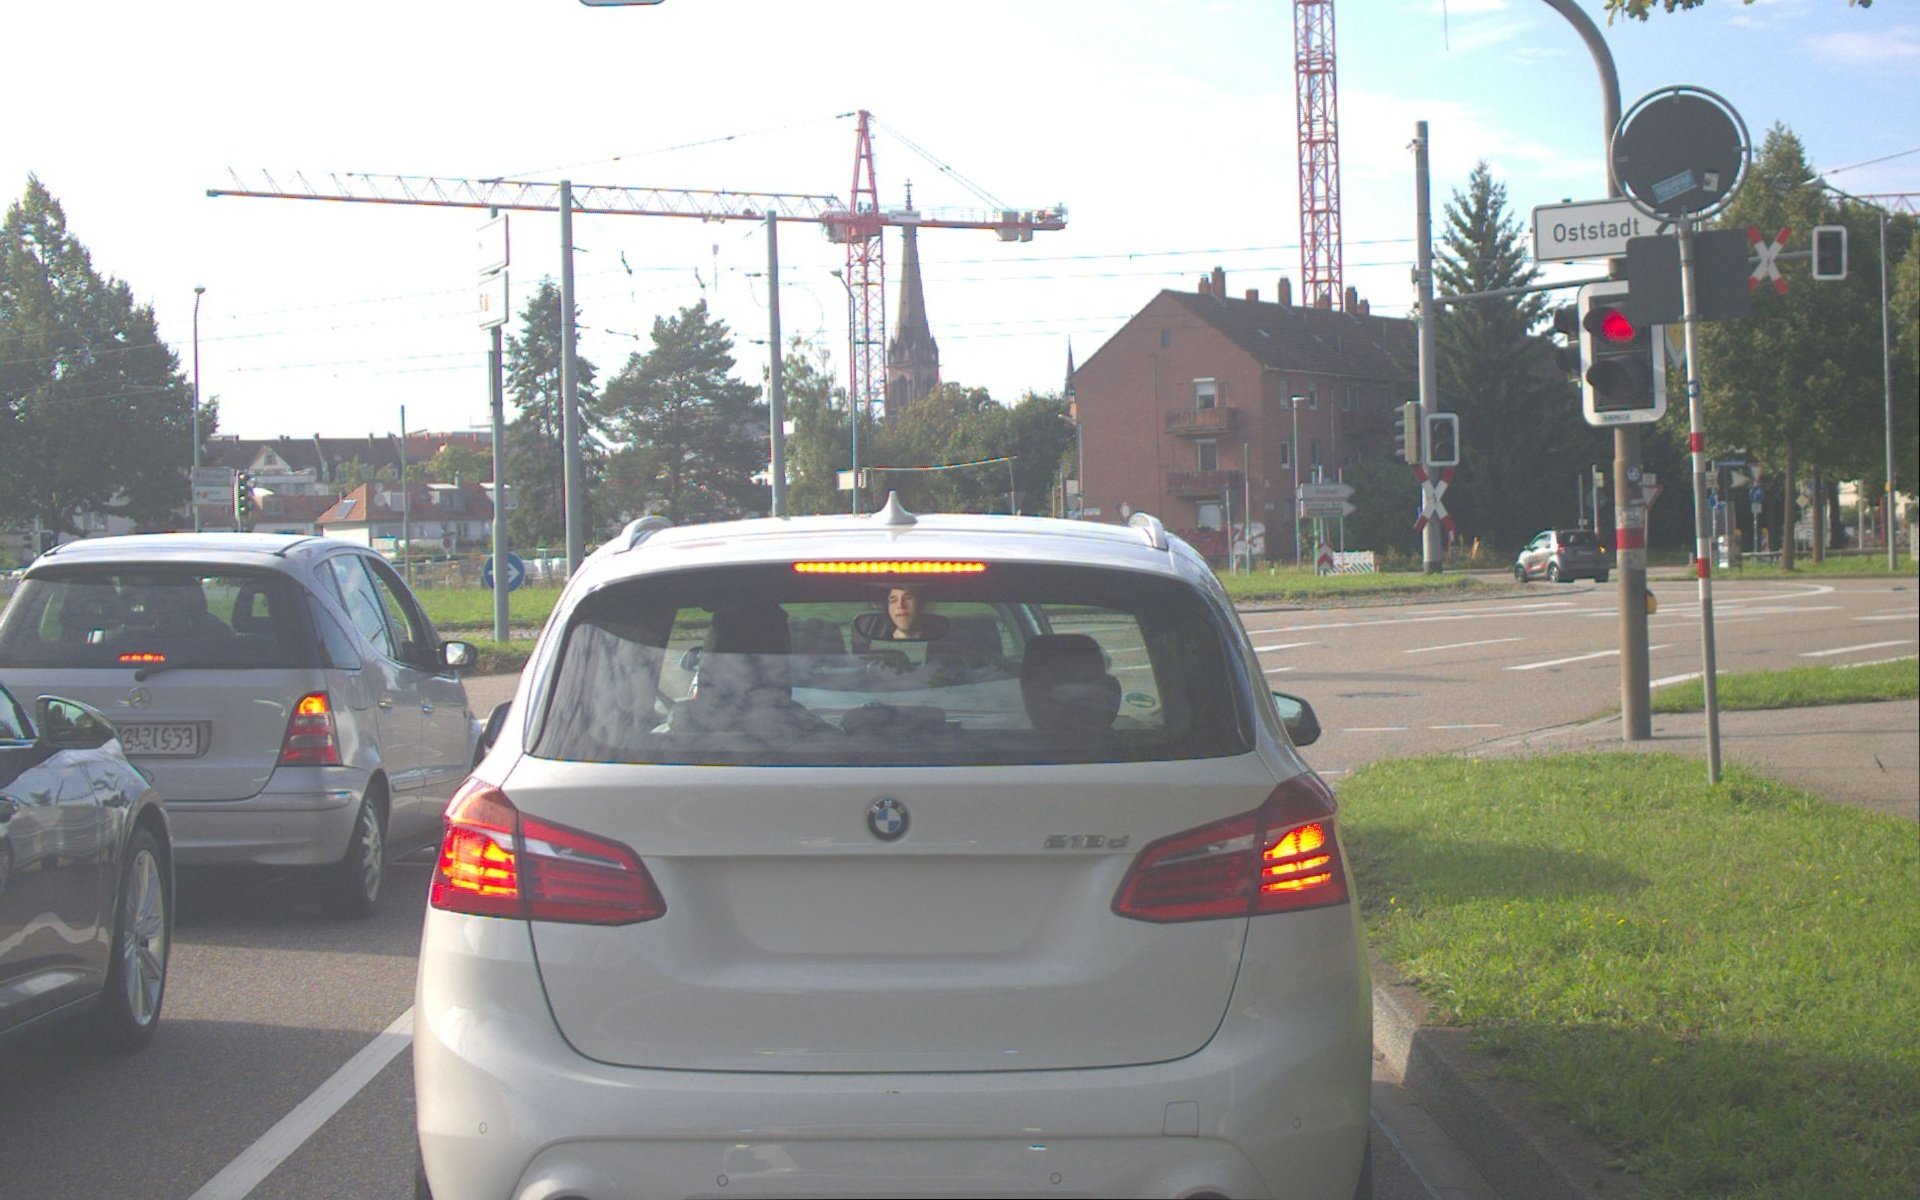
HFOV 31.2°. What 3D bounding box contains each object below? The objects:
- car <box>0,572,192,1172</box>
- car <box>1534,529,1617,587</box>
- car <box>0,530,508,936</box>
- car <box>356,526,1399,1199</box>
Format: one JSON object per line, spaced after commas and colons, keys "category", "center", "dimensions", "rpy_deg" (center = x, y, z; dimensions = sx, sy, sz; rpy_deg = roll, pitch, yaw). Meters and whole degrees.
{"category": "car", "center": [-3.314, 0.674, 8.425], "dimensions": [1.890, 1.478, 4.613], "rpy_deg": [0, 1, -1]}
{"category": "car", "center": [17.308, -1.188, 96.817], "dimensions": [1.569, 1.568, 3.199], "rpy_deg": [-2, 1, -3]}
{"category": "car", "center": [-3.121, 0.476, 15.190], "dimensions": [1.729, 1.553, 4.058], "rpy_deg": [0, 1, 0]}
{"category": "car", "center": [-0.163, 0.619, 7.737], "dimensions": [1.729, 1.553, 4.058], "rpy_deg": [0, 1, -1]}
